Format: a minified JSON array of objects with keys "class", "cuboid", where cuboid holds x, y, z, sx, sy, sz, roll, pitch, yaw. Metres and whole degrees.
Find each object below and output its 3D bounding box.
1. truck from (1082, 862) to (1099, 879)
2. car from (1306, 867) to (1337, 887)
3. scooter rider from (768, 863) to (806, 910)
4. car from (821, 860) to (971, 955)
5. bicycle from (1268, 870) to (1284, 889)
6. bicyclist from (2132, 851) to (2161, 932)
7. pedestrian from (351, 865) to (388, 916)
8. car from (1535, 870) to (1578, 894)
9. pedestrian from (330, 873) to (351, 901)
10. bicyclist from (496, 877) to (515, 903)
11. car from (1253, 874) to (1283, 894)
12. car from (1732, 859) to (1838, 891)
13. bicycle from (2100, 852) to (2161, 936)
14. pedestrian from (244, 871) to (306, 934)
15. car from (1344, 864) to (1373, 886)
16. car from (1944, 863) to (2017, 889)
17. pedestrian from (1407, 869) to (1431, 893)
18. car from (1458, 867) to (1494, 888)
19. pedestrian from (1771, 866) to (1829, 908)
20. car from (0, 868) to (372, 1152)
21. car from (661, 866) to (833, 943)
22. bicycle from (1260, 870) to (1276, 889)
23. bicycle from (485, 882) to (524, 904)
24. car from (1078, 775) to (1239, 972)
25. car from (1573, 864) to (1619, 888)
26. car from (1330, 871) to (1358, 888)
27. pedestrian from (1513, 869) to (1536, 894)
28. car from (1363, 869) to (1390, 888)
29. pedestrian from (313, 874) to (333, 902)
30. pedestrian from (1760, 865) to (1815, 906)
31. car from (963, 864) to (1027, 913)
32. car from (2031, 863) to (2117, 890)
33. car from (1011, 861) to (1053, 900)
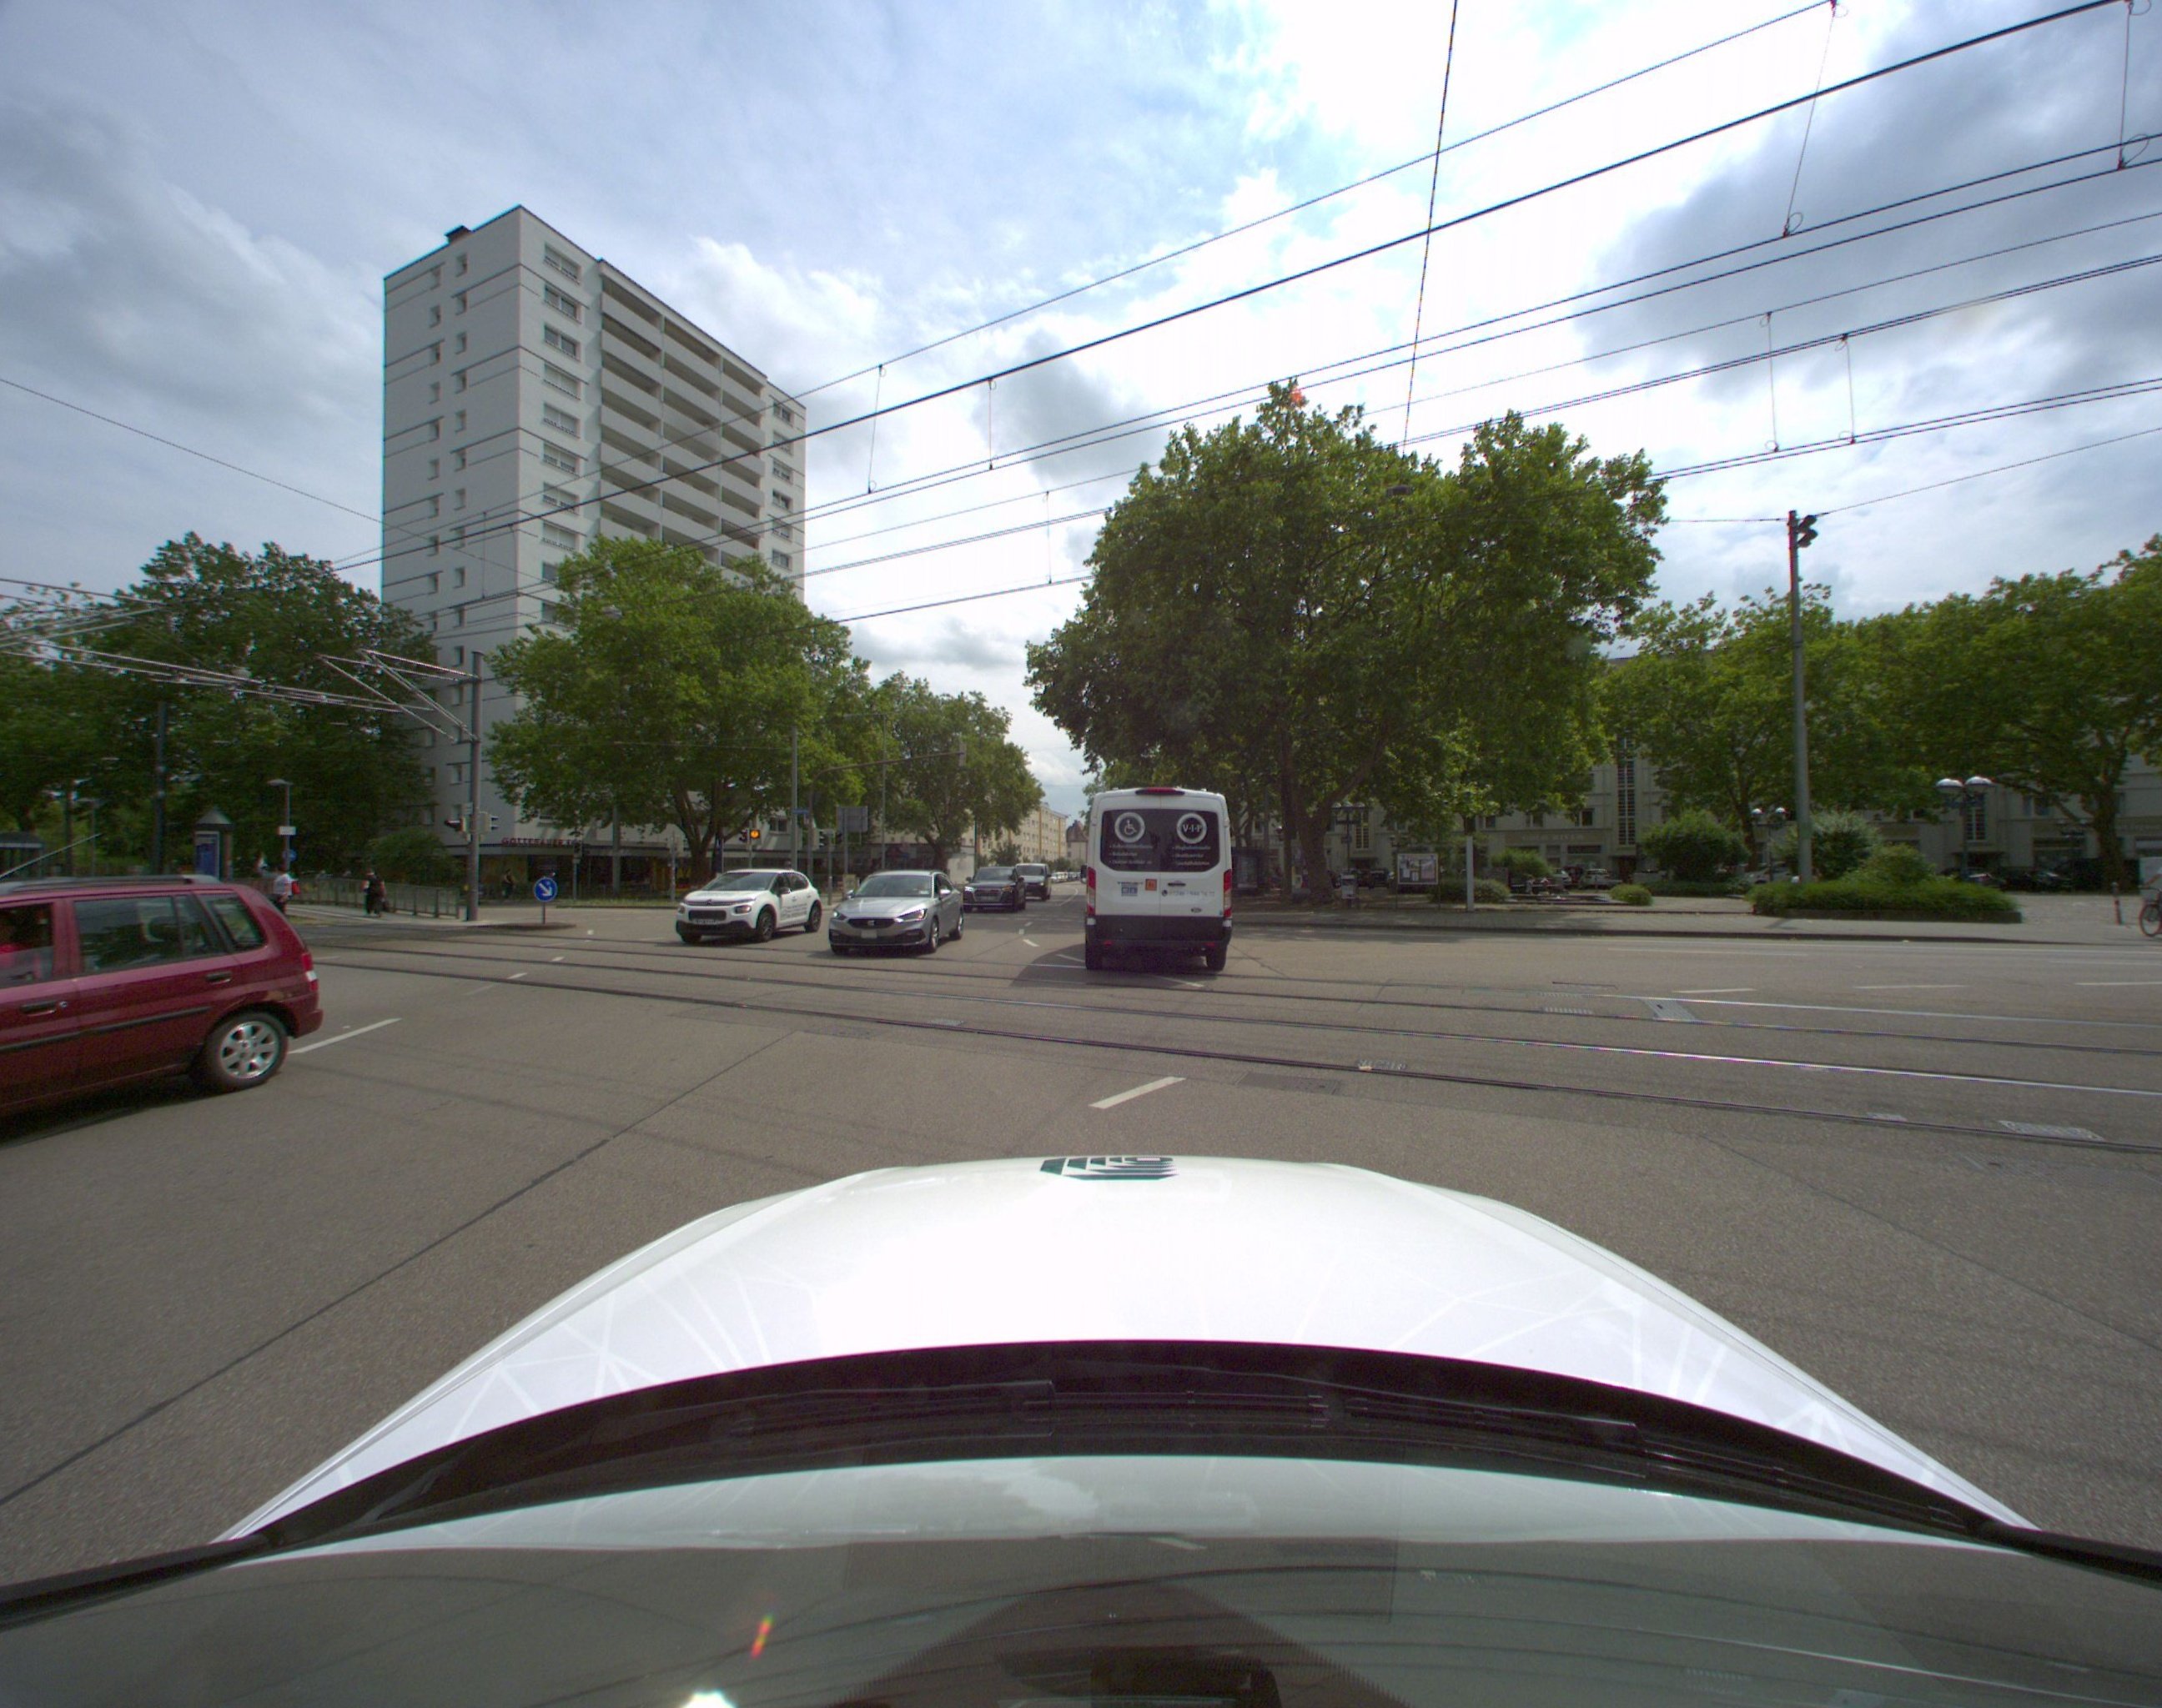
[{"class":"truck","cuboid":[1.768,3.079,152.128,2.529,3.108,7.030,-2,-2,5]},{"class":"car","cuboid":[18.944,1.815,64.027,1.976,1.464,4.020,-1,-2,21]},{"class":"scooter rider","cuboid":[-8.859,0.950,24.555,0.736,1.376,1.087,0,-1,0]},{"class":"car","cuboid":[-3.326,0.905,15.621,1.757,1.524,4.846,-1,-1,0]},{"class":"bicycle","cuboid":[14.705,1.890,61.332,0.415,1.378,2.326,-2,-2,32]},{"class":"bicyclist","cuboid":[22.415,0.761,16.769,0.555,1.653,0.872,-1,-1,22]},{"class":"pedestrian","cuboid":[-22.166,1.131,25.377,0.591,1.552,0.674,-1,-1,27]},{"class":"car","cuboid":[33.576,1.959,57.606,1.976,1.618,4.226,-1,-2,21]},{"class":"pedestrian","cuboid":[-43.749,1.920,48.099,0.676,1.636,0.700,-1,-1,22]},{"class":"bicyclist","cuboid":[-30.574,1.892,43.263,0.744,1.342,0.494,-2,-1,18]},{"class":"car","cuboid":[15.456,2.477,67.105,1.811,1.552,4.020,-1,-2,21]},{"class":"car","cuboid":[41.410,1.251,48.025,4.279,1.816,2.011,-1,-1,24]},{"class":"bicycle","cuboid":[22.416,0.814,16.837,0.713,1.705,2.196,-1,-1,24]},{"class":"pedestrian","cuboid":[-20.544,1.217,20.774,0.829,1.552,0.873,-1,-1,24]},{"class":"car","cuboid":[21.596,1.618,63.358,1.976,1.599,4.020,-1,-2,21]},{"class":"car","cuboid":[53.817,1.306,48.799,1.974,1.483,4.126,-1,-1,34]},{"class":"pedestrian","cuboid":[17.521,1.403,42.204,1.085,1.213,1.147,-1,-2,25]},{"class":"car","cuboid":[29.098,1.697,60.107,1.976,1.464,4.020,-1,-2,21]},{"class":"pedestrian","cuboid":[23.101,1.044,26.205,1.165,1.318,0.872,-1,-1,23]},{"class":"car","cuboid":[-6.687,0.870,4.593,1.756,1.524,4.001,-2,-1,2]},{"class":"car","cuboid":[-6.990,0.996,17.572,1.727,1.431,4.245,0,0,4]},{"class":"bicycle","cuboid":[14.172,1.919,61.725,0.415,1.378,2.326,-2,-1,32]},{"class":"bicycle","cuboid":[-30.683,2.092,43.326,1.948,1.094,0.630,-3,-1,19]},{"class":"car","cuboid":[1.132,0.341,12.897,2.062,2.541,4.637,0,-2,3]},{"class":"car","cuboid":[35.946,1.531,56.955,1.976,1.640,4.021,-1,-1,22]},{"class":"car","cuboid":[23.895,2.307,73.886,1.976,1.488,4.217,-1,-1,23]},{"class":"pedestrian","cuboid":[21.819,1.332,40.075,0.878,1.200,1.130,-1,-1,22]},{"class":"car","cuboid":[26.038,2.135,71.803,1.976,1.591,4.217,-1,-1,23]},{"class":"pedestrian","cuboid":[-44.635,2.002,47.937,0.500,1.624,0.700,-1,-1,22]},{"class":"pedestrian","cuboid":[23.480,1.041,27.087,1.165,1.318,0.872,-1,-1,23]},{"class":"car","cuboid":[-3.035,1.190,29.615,1.816,1.647,4.427,0,-1,0]},{"class":"car","cuboid":[56.660,1.265,46.561,1.974,1.483,4.126,-1,-1,34]},{"class":"car","cuboid":[-2.549,1.351,43.365,1.917,1.936,4.946,0,-1,0]}]
